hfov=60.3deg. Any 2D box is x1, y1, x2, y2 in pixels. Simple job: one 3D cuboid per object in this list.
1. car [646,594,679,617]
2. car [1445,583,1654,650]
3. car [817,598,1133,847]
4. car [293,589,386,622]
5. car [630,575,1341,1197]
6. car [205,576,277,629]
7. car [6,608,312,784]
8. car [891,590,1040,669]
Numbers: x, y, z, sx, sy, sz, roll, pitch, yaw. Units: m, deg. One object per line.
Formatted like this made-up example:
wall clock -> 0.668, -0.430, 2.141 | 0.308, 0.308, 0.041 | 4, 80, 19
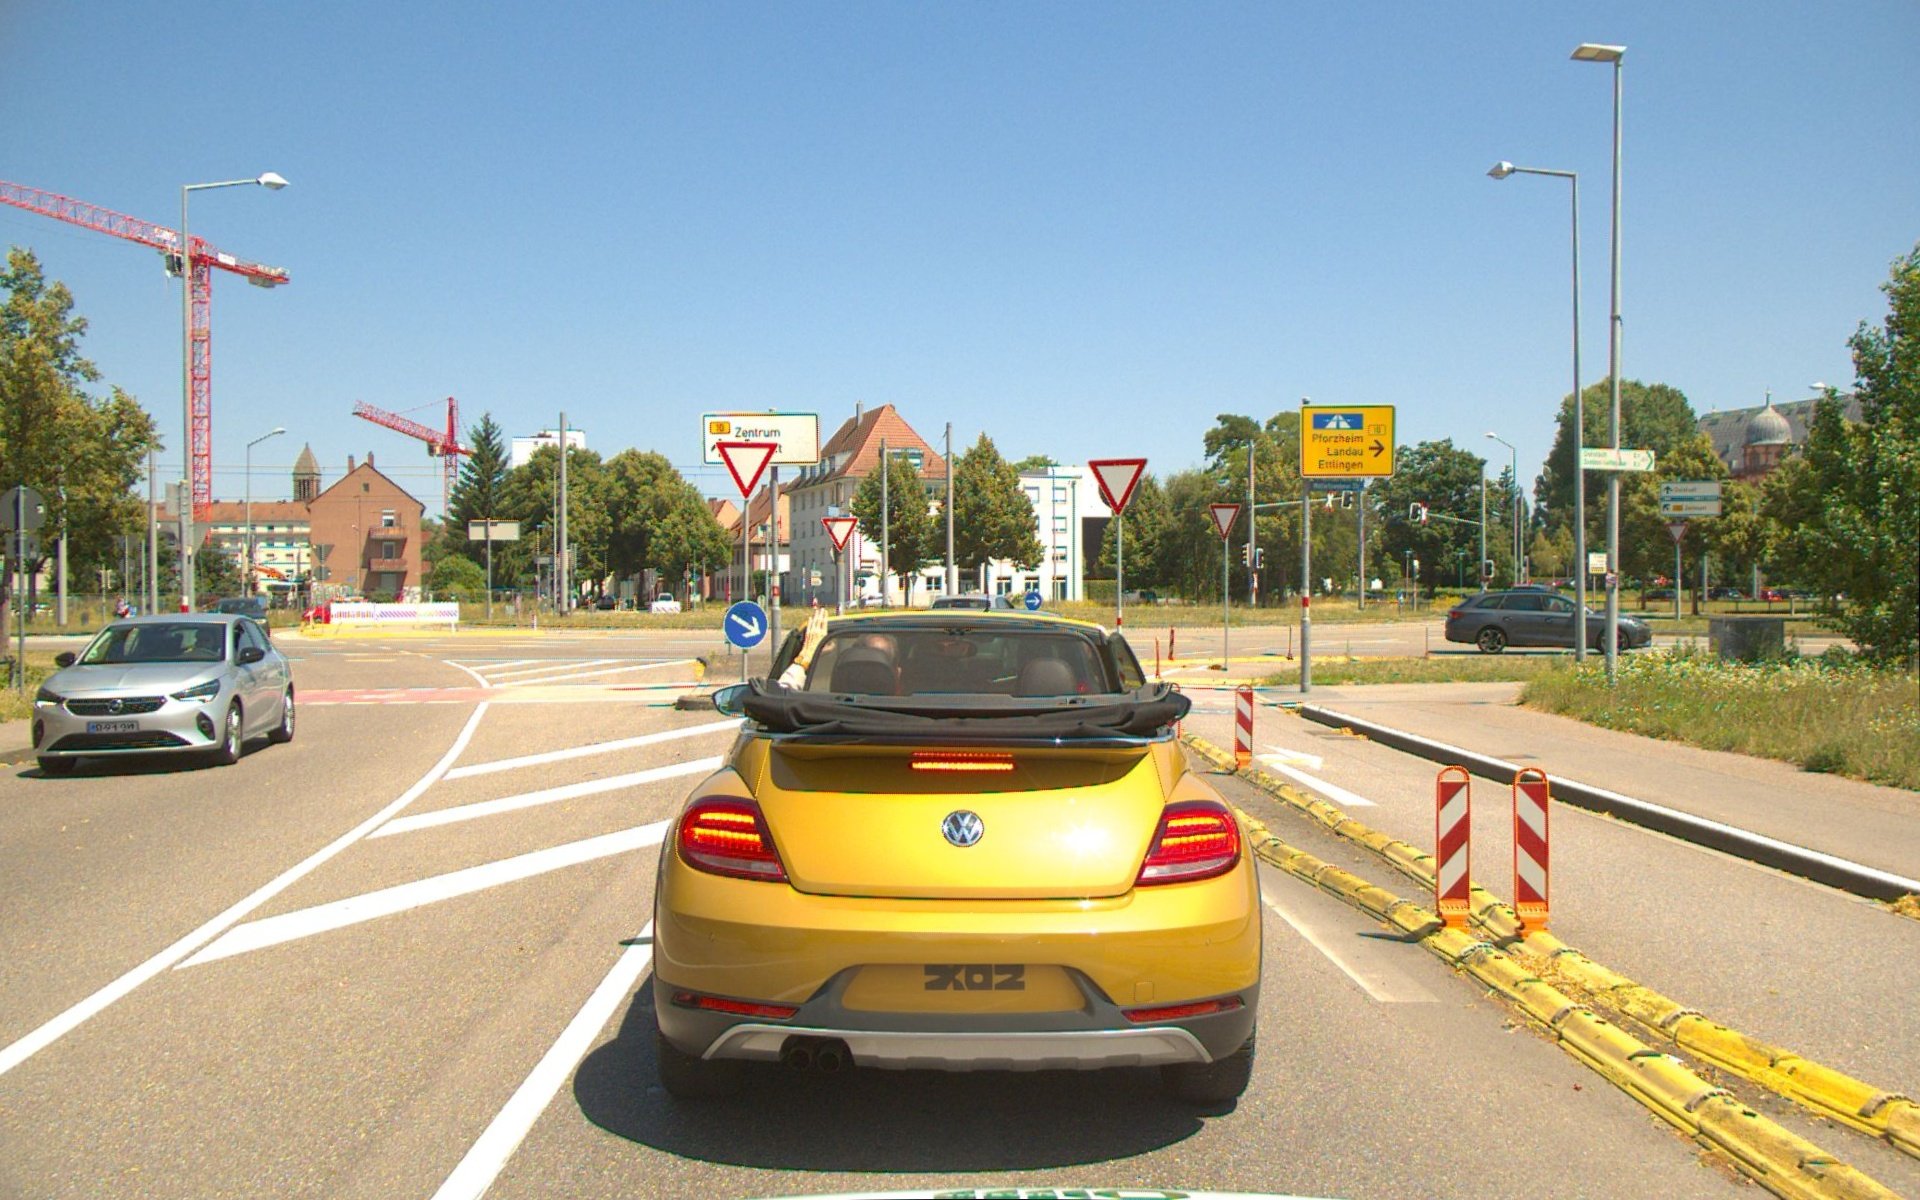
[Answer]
car -> -28.300, 0.543, 157.350 | 1.960, 2.107, 5.291 | 1, 0, -22
car -> 13.702, 0.374, 38.701 | 4.431, 1.507, 2.073 | -1, 0, 15
car -> 0.058, 0.706, 11.710 | 1.814, 1.389, 4.257 | -1, 0, -1
car -> -33.116, 0.295, 88.358 | 1.866, 1.683, 4.324 | 1, 0, 39
car -> 0.037, 0.716, 6.200 | 1.729, 1.507, 4.257 | 1, 0, -1
car -> -24.591, 0.085, 56.663 | 1.721, 1.736, 3.982 | 1, 0, -16
car -> -7.941, 0.854, 16.833 | 1.697, 1.426, 4.259 | -3, 1, -11
car -> 0.187, 0.545, 32.386 | 2.021, 1.406, 4.261 | 1, 0, 13
